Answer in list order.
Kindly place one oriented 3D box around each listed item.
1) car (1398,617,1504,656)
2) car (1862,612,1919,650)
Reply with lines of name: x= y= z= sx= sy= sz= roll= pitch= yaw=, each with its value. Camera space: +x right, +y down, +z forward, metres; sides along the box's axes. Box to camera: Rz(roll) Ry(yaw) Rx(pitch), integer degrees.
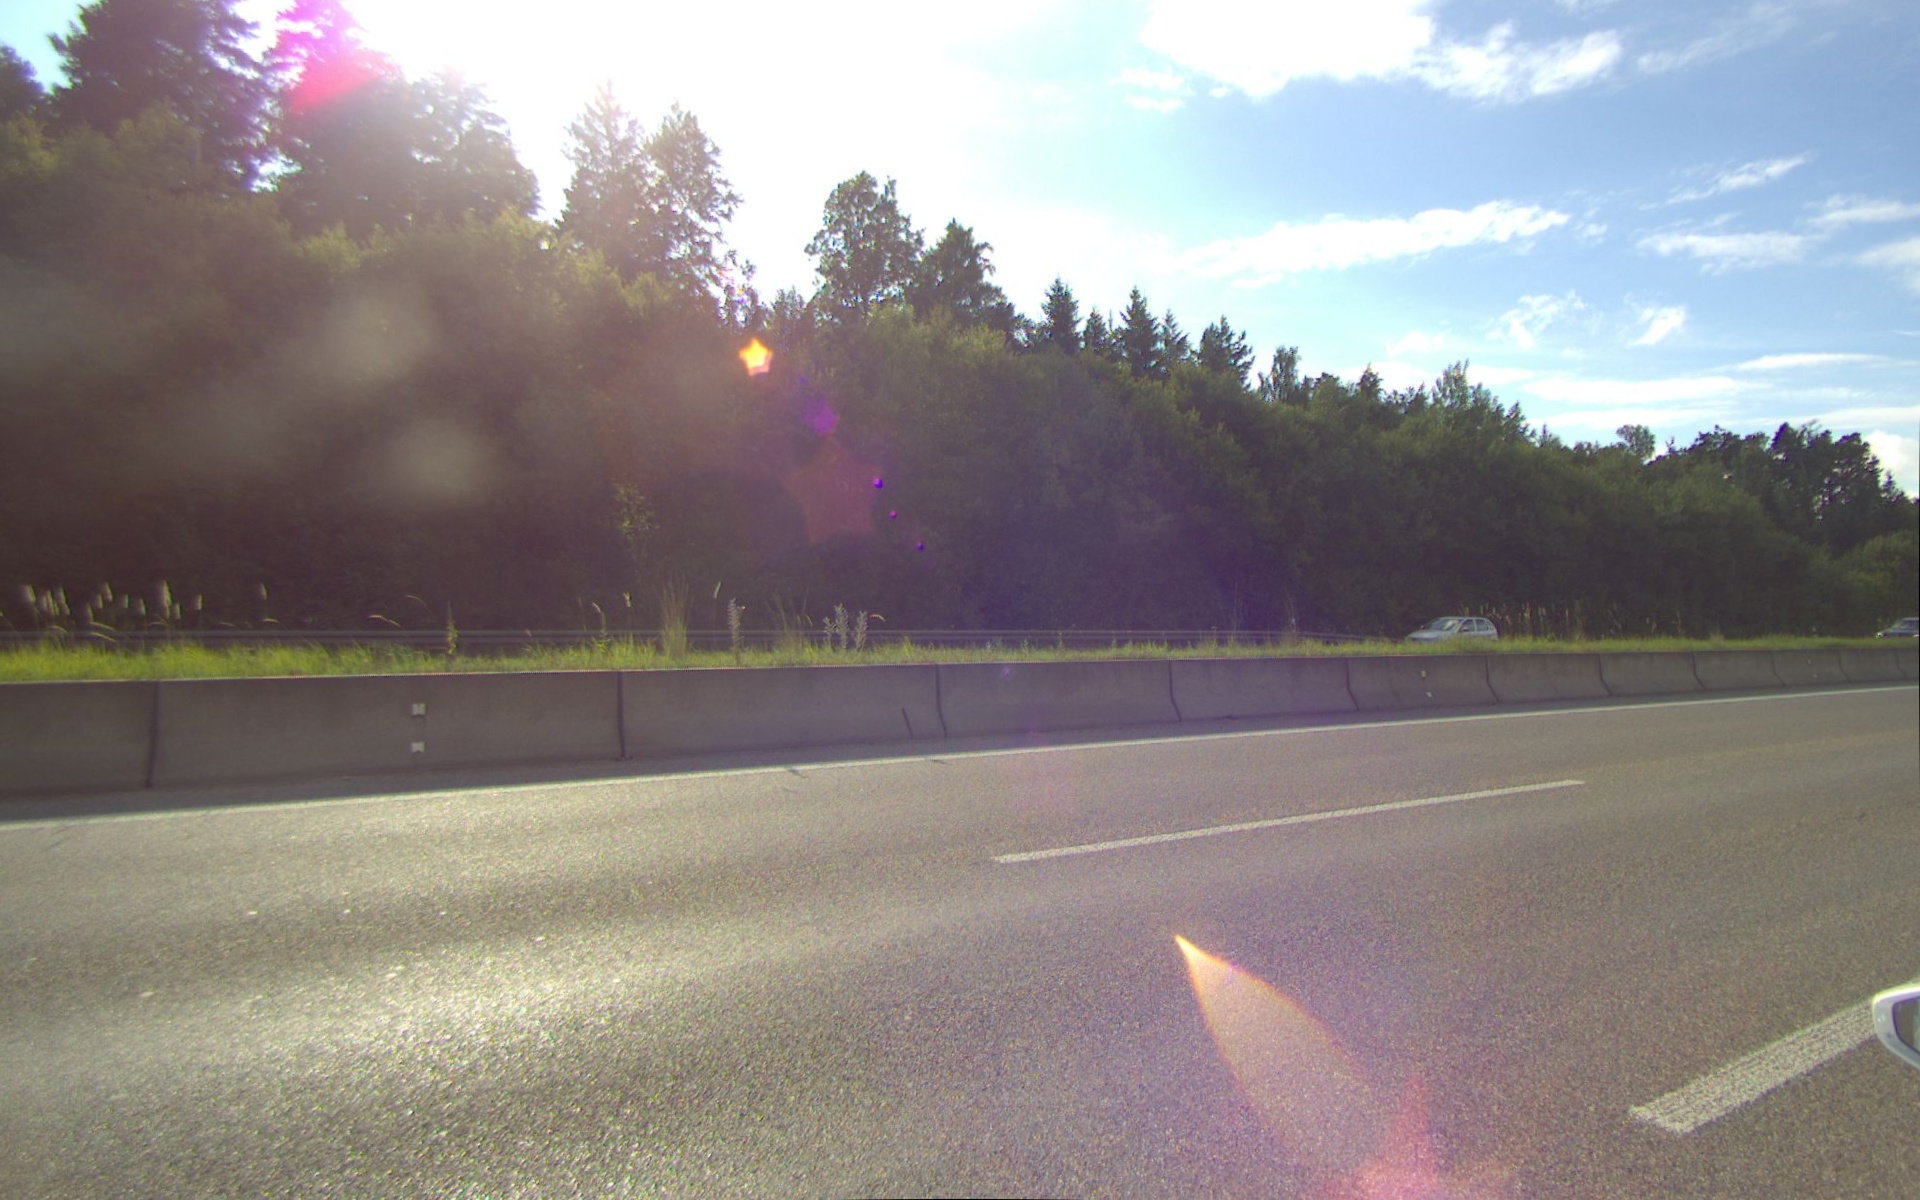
car: x=17.574 y=1.273 z=35.944 sx=3.502 sy=1.307 sz=1.808 roll=1 pitch=0 yaw=-30
car: x=45.287 y=1.460 z=48.150 sx=3.953 sy=1.740 sz=1.897 roll=1 pitch=0 yaw=-30
